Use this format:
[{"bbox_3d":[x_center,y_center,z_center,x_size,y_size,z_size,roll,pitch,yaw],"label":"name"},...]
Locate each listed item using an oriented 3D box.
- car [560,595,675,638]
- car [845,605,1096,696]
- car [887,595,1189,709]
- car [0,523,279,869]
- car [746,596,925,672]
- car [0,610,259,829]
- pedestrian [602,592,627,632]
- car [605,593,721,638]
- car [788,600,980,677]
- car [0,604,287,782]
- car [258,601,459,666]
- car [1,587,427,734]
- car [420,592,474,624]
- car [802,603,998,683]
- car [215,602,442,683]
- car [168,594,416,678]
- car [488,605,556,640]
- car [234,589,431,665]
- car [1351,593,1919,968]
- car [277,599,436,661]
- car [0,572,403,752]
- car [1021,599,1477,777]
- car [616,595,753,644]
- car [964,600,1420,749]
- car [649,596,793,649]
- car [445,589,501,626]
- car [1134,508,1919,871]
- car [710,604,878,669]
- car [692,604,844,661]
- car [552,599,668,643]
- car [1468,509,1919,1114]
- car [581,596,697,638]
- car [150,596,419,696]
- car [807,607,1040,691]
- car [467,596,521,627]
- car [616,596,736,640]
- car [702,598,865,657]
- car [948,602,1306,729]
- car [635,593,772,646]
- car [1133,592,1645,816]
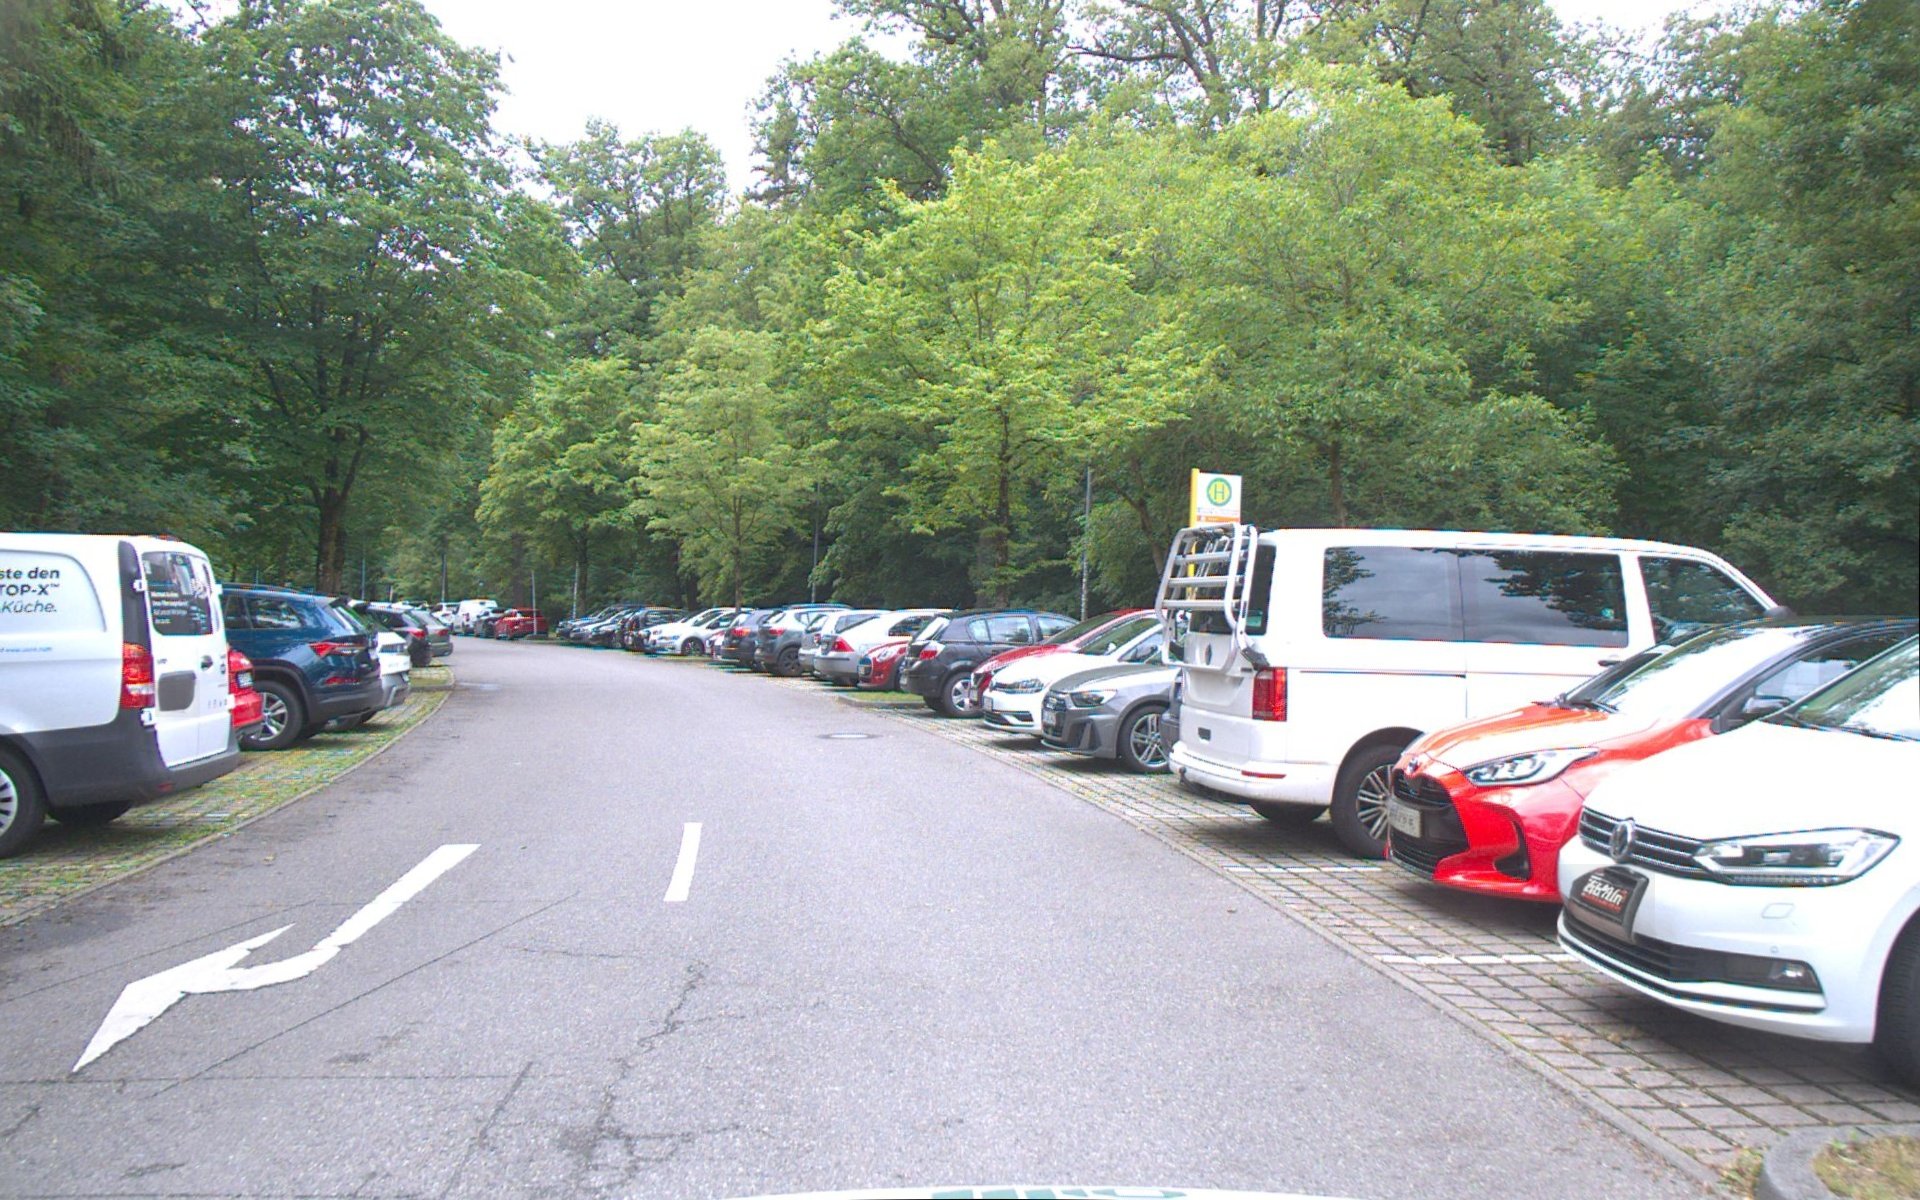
[{"bbox_3d":[-13.199,0.636,63.739,3.946,1.579,1.955,1,0,-31],"label":"car"},{"bbox_3d":[0.154,0.828,28.389,3.924,1.475,1.932,0,0,-17],"label":"car"},{"bbox_3d":[1.061,0.696,23.418,3.918,1.509,1.916,0,0,-13],"label":"car"},{"bbox_3d":[-7.033,0.538,10.064,4.991,1.949,1.974,0,0,-9],"label":"car"},{"bbox_3d":[-2.850,0.763,37.534,3.709,1.617,1.940,1,1,-18],"label":"car"},{"bbox_3d":[-7.297,0.884,12.667,3.164,1.492,1.653,-1,2,-7],"label":"car"},{"bbox_3d":[-15.121,0.517,72.380,0.808,1.756,0.995,1,-1,-28],"label":"pedestrian"},{"bbox_3d":[-10.611,0.531,59.071,3.778,1.558,1.837,-1,0,-25],"label":"car"},{"bbox_3d":[-1.643,0.803,35.413,3.785,1.573,1.720,0,0,-20],"label":"car"},{"bbox_3d":[-8.309,0.797,14.849,3.918,1.470,1.817,-1,0,-13],"label":"car"},{"bbox_3d":[-14.813,0.800,40.883,4.572,1.504,2.082,0,0,-21],"label":"car"},{"bbox_3d":[-8.702,0.665,19.707,4.279,1.626,2.024,0,0,-13],"label":"car"},{"bbox_3d":[-27.826,0.427,89.656,1.767,1.691,4.669,1,0,-30],"label":"car"},{"bbox_3d":[-1.218,0.843,33.229,3.643,1.537,1.743,0,-1,-17],"label":"car"},{"bbox_3d":[-12.757,0.831,33.697,4.165,1.557,1.997,0,0,-17],"label":"car"},{"bbox_3d":[-12.433,0.659,31.063,4.166,1.499,1.712,0,-1,-18],"label":"car"},{"bbox_3d":[-19.810,0.989,74.651,1.970,1.505,4.928,1,0,-27],"label":"car"},{"bbox_3d":[-14.584,0.594,38.529,4.174,1.676,1.957,0,0,-22],"label":"car"},{"bbox_3d":[4.204,0.836,8.363,3.917,1.582,1.946,2,1,-3],"label":"car"},{"bbox_3d":[-16.625,0.799,45.737,3.893,1.656,1.991,0,0,-14],"label":"car"},{"bbox_3d":[-8.251,0.603,17.235,4.346,1.724,2.165,1,1,-11],"label":"car"},{"bbox_3d":[2.728,0.833,16.010,3.916,1.509,1.872,2,-1,-12],"label":"car"},{"bbox_3d":[-9.064,0.640,54.445,4.134,1.538,1.878,1,1,-25],"label":"car"},{"bbox_3d":[2.511,0.785,18.371,4.685,1.501,1.848,0,1,-10],"label":"car"},{"bbox_3d":[-7.200,0.682,49.764,3.926,1.509,1.869,1,1,-25],"label":"car"},{"bbox_3d":[-24.839,0.366,84.279,1.725,1.811,4.507,1,0,-29],"label":"car"},{"bbox_3d":[3.687,0.557,11.100,4.564,2.056,2.079,3,1,-10],"label":"car"},{"bbox_3d":[-4.033,0.879,40.148,3.716,1.507,1.762,1,0,-23],"label":"car"},{"bbox_3d":[-5.272,0.878,45.431,3.753,1.466,1.853,1,1,-29],"label":"car"},{"bbox_3d":[-13.978,0.844,66.031,4.212,1.695,1.942,1,0,-26],"label":"car"},{"bbox_3d":[4.396,0.627,5.966,4.431,1.723,2.163,1,0,-4],"label":"car"},{"bbox_3d":[-11.930,0.638,61.439,3.935,1.501,1.938,1,0,-24],"label":"car"},{"bbox_3d":[-10.924,0.710,27.036,3.925,1.517,1.699,0,1,-18],"label":"car"},{"bbox_3d":[-0.702,0.879,30.909,4.058,1.487,1.857,0,0,-16],"label":"car"},{"bbox_3d":[-22.453,0.531,79.571,1.705,1.447,4.246,1,0,-27],"label":"car"},{"bbox_3d":[-9.798,0.608,56.999,3.776,1.483,1.796,0,0,-24],"label":"car"},{"bbox_3d":[-4.568,0.710,42.735,3.875,1.435,1.867,1,1,-21],"label":"car"},{"bbox_3d":[2.080,0.803,21.031,4.156,1.506,1.913,1,0,-13],"label":"car"},{"bbox_3d":[-8.089,0.604,52.125,3.950,1.586,1.965,1,1,-21],"label":"car"},{"bbox_3d":[3.493,0.834,13.804,3.656,1.581,1.842,2,2,-12],"label":"car"}]
